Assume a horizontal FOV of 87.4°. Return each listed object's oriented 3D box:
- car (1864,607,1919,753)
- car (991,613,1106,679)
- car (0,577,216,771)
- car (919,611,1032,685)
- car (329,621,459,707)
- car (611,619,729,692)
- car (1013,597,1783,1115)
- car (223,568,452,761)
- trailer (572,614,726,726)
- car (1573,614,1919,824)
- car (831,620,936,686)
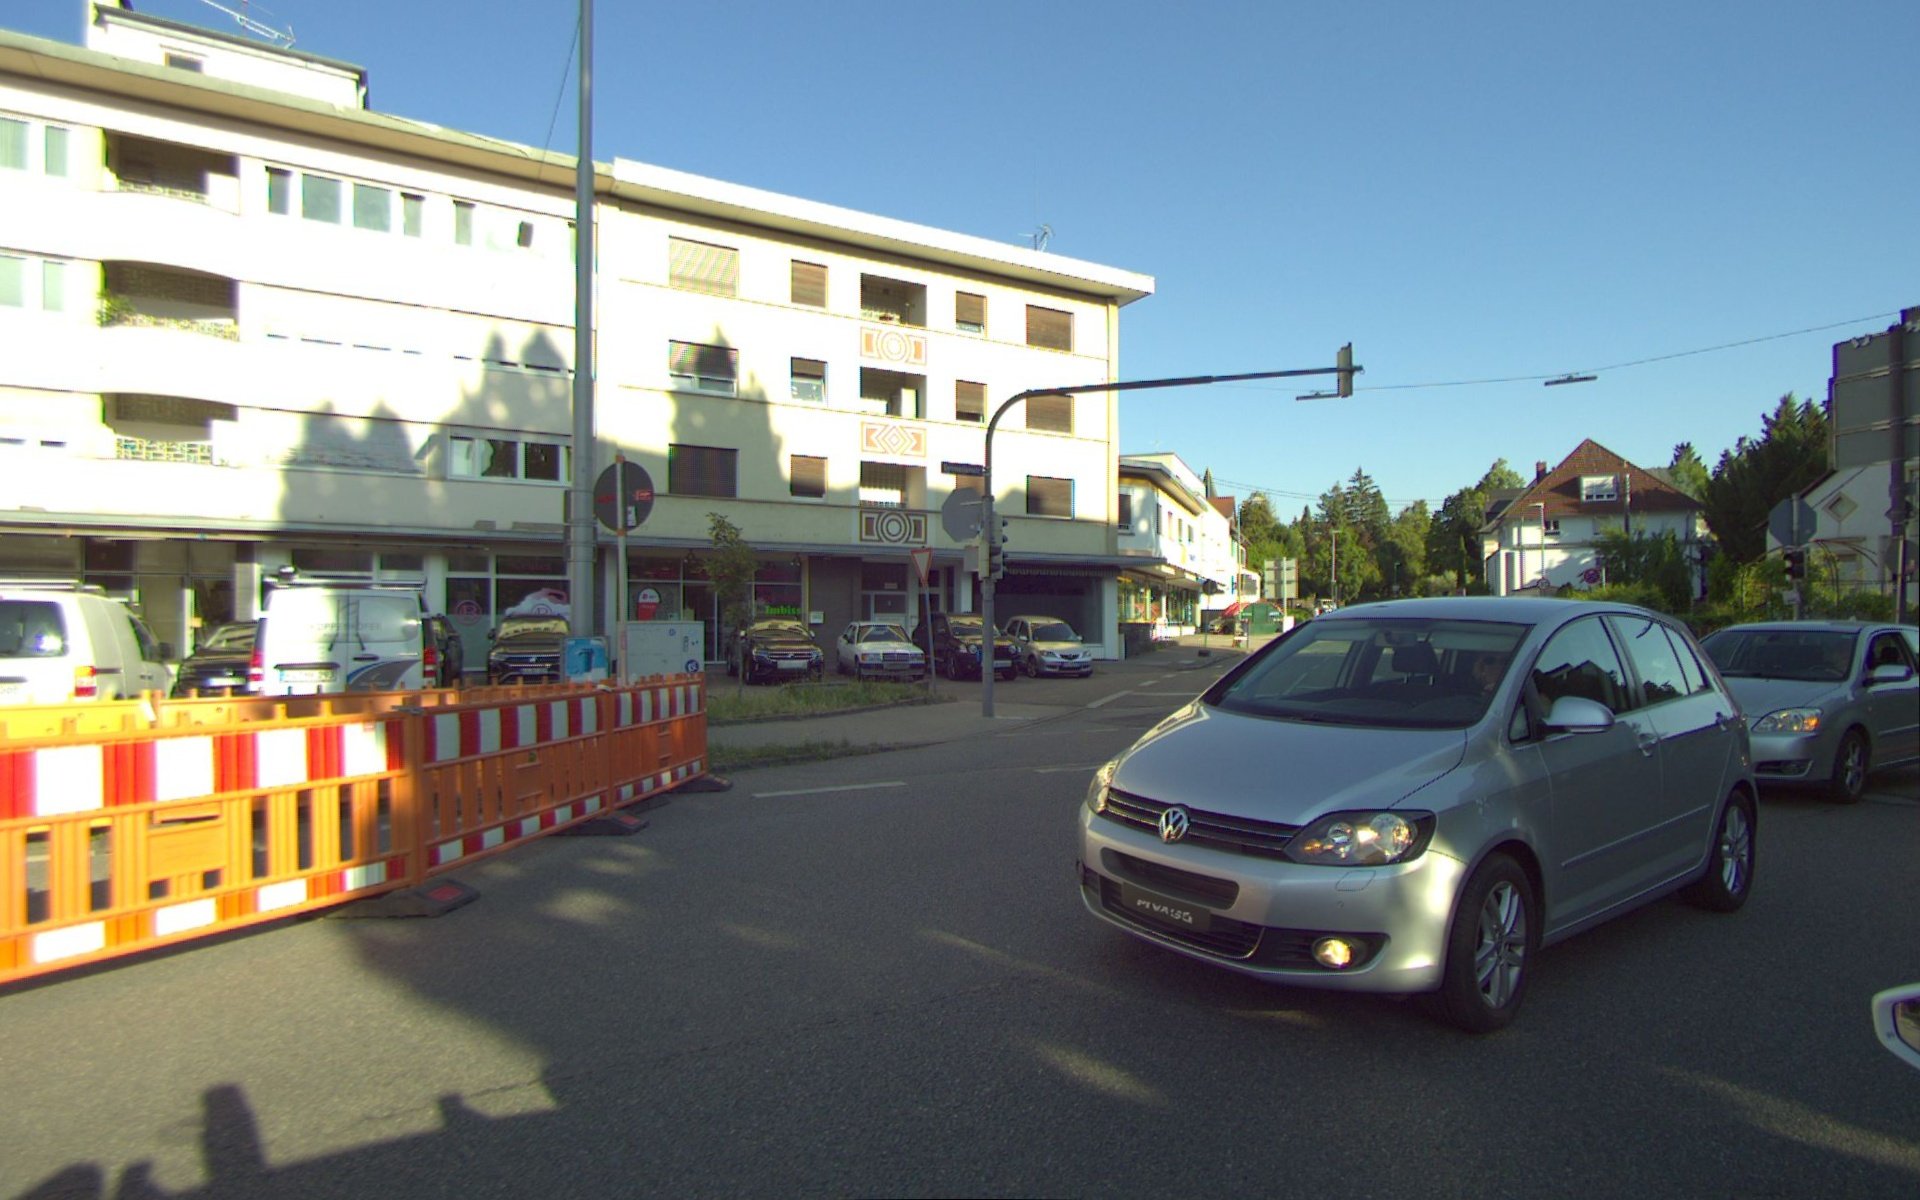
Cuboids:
[{"bbox_3d":[13.199,0.925,12.239,4.475,1.671,1.769,0,0,-27],"label":"car"},{"bbox_3d":[2.387,1.212,28.235,1.966,1.632,4.315,0,0,-14],"label":"car"},{"bbox_3d":[-10.346,0.714,11.577,1.973,1.876,4.301,0,0,-25],"label":"car"},{"bbox_3d":[0.304,1.179,26.477,1.966,1.738,4.315,0,0,-14],"label":"car"},{"bbox_3d":[-11.279,1.186,20.294,1.973,1.417,4.300,0,0,-25],"label":"car"},{"bbox_3d":[-6.813,1.207,23.289,1.973,1.417,4.300,0,0,-25],"label":"car"},{"bbox_3d":[2.332,0.769,4.934,3.962,1.563,1.763,0,0,-37],"label":"car"},{"bbox_3d":[-7.792,0.655,12.863,2.092,1.991,4.645,0,0,-29],"label":"car"},{"bbox_3d":[-4.701,0.939,14.927,1.555,1.415,3.239,0,0,-29],"label":"trailer"},{"bbox_3d":[7.656,0.909,9.280,4.049,1.500,1.766,0,0,-31],"label":"car"},{"bbox_3d":[-2.045,1.273,25.520,1.966,1.417,4.315,0,0,-14],"label":"car"}]
